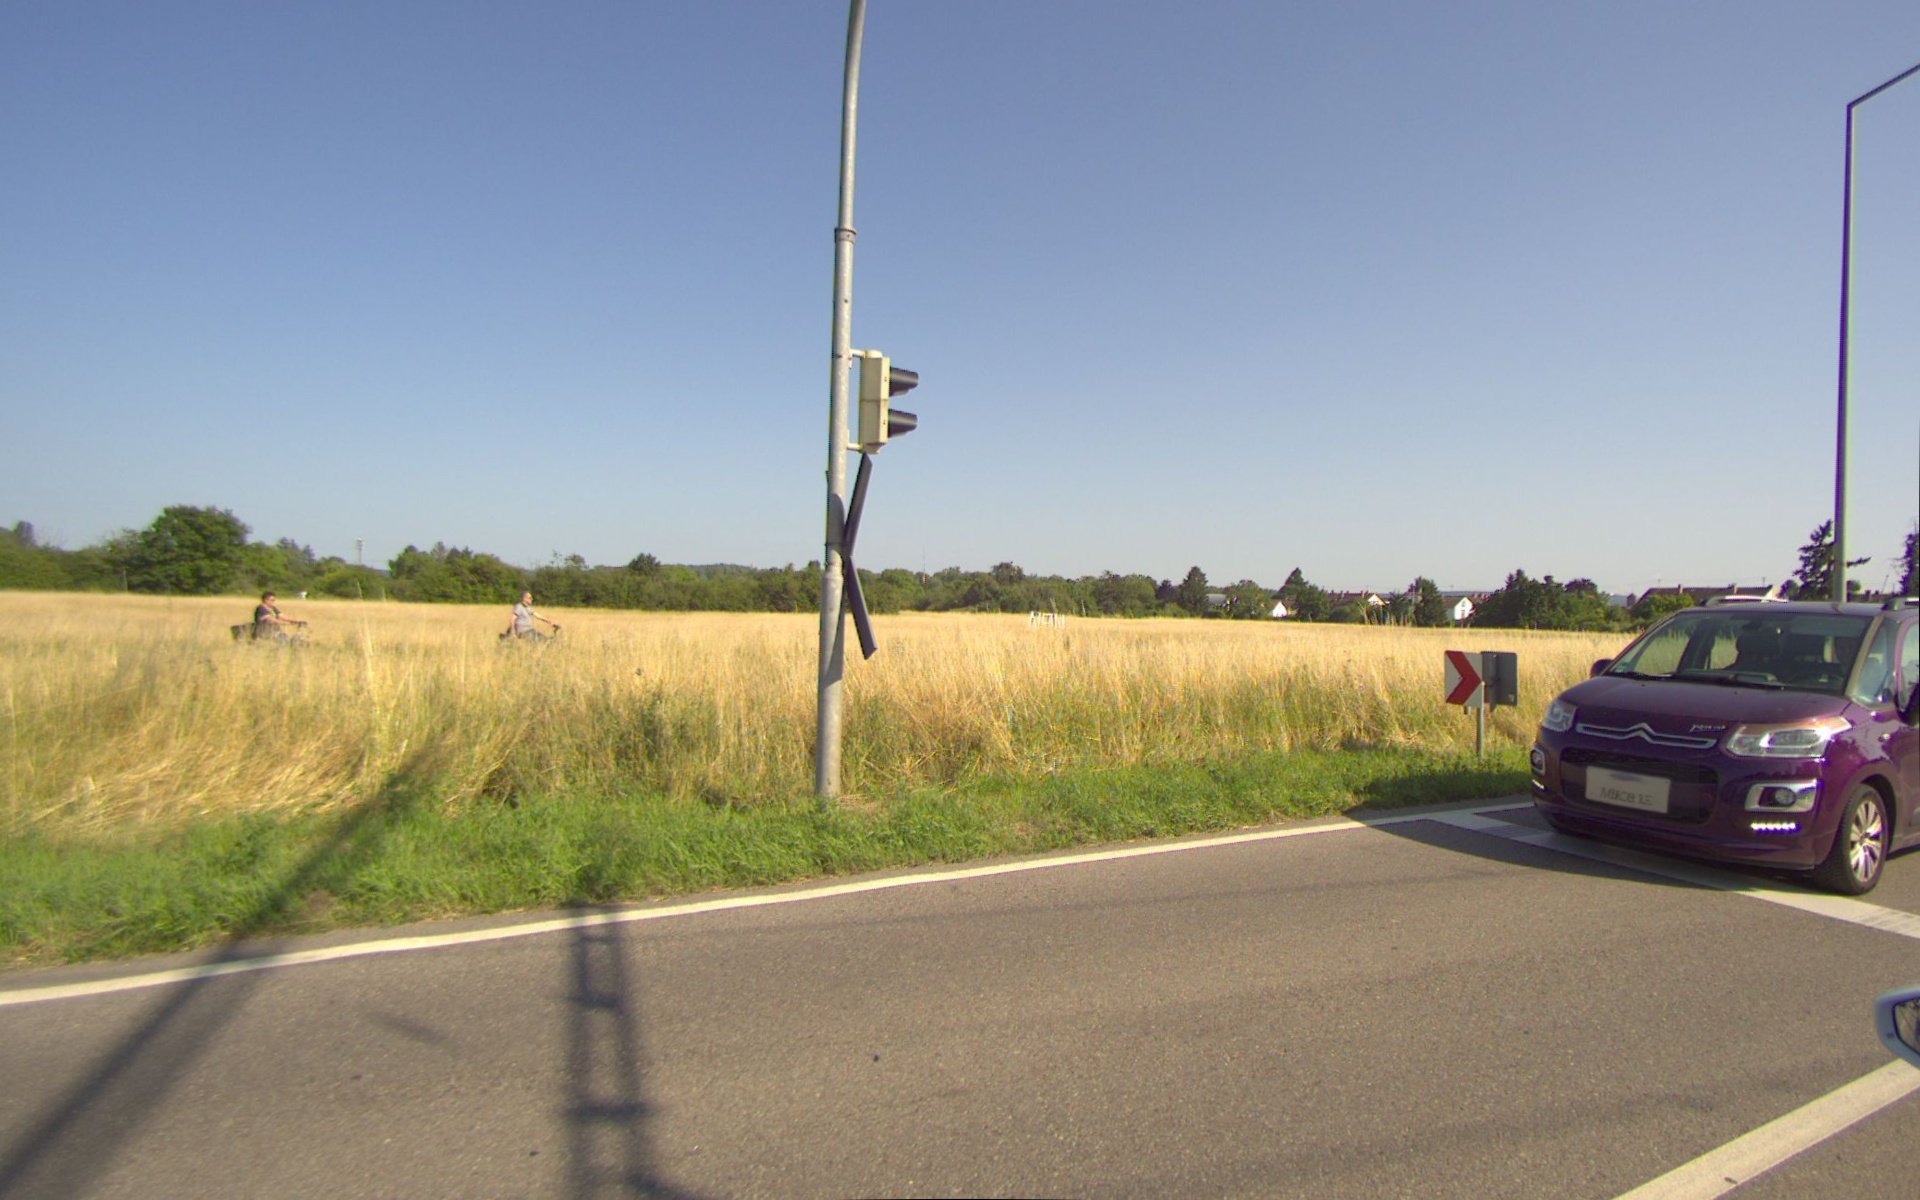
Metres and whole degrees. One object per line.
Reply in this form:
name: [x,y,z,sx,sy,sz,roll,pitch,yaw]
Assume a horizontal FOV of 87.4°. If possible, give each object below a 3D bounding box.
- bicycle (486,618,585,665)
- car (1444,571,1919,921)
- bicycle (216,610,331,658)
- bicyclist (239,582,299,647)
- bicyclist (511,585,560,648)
bicycle: [-8.512,0.838,20.209,1.708,0.850,0.750,2,1,-16]
car: [5.462,0.744,6.702,4.534,1.687,1.698,2,1,-29]
bicycle: [-13.239,0.658,19.424,1.708,0.850,0.613,2,1,-16]
bicyclist: [-13.329,0.270,19.391,0.776,1.221,0.602,2,1,-16]
bicyclist: [-8.508,0.322,20.170,0.777,1.221,0.745,2,1,-16]
